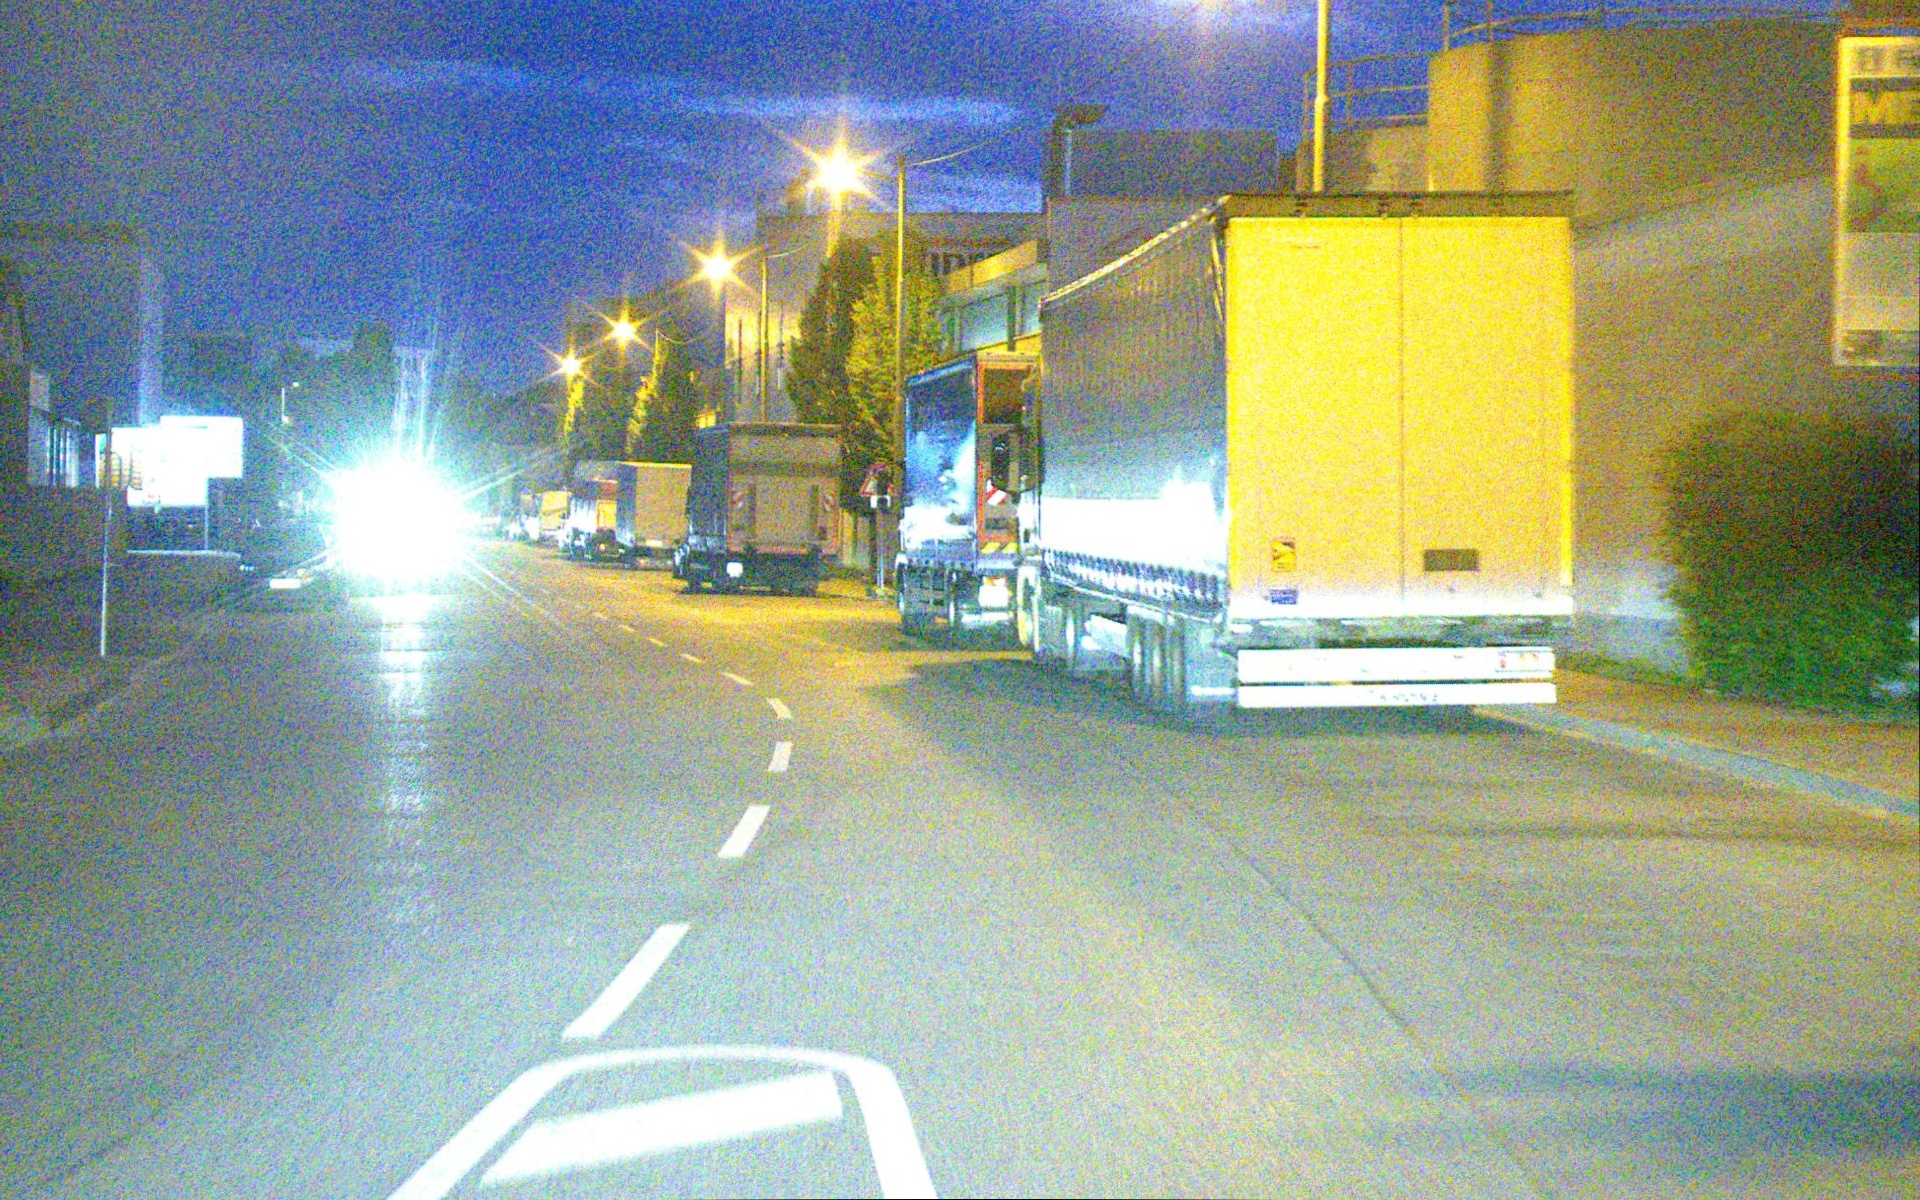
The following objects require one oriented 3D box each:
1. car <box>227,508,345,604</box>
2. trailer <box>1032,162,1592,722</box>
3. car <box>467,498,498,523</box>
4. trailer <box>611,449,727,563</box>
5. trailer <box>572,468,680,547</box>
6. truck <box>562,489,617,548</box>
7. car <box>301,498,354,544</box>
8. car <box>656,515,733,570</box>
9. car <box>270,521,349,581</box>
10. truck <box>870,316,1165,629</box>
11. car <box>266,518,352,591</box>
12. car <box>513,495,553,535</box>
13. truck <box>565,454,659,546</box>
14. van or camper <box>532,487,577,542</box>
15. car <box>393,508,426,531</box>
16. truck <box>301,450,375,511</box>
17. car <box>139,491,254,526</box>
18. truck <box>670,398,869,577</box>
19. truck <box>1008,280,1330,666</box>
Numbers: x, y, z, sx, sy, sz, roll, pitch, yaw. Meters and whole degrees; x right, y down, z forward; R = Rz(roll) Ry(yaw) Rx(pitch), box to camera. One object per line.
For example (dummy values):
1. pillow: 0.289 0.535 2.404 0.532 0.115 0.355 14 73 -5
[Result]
1. car: -12.222 -0.811 62.432 1.993 1.631 4.775 1 1 -11
2. trailer: 2.661 -1.271 31.470 2.808 3.969 13.977 -1 1 -4
3. car: -32.817 -6.157 236.122 1.993 1.678 4.001 1 1 -9
4. trailer: -9.375 -2.985 109.915 2.686 3.452 7.812 1 1 -12
5. trailer: -12.338 -3.356 126.164 3.183 2.739 10.718 -1 1 -9
6. truck: -15.672 -3.455 145.195 1.993 2.399 5.294 1 1 -9
7. car: -25.429 -3.191 138.233 1.993 1.787 4.001 1 1 -9
8. car: -7.516 -1.640 97.123 1.852 1.514 3.819 -1 1 -9
9. car: -16.365 -1.243 86.626 1.841 1.415 4.001 1 1 -9
10. truck: 0.605 -1.725 48.940 2.829 3.969 10.345 -1 1 -7
11. car: -12.860 -0.913 68.041 1.601 1.349 4.001 1 2 -10
12. car: -23.189 -4.625 186.664 1.993 2.138 4.001 1 1 -9
13. truck: -13.520 -3.855 133.201 3.150 3.451 6.675 -1 1 -9
14. van or camper: -19.658 -4.135 166.568 1.993 2.572 4.916 1 1 -9
15. car: -35.047 -5.114 218.793 1.993 1.393 4.001 1 1 -9
16. truck: -38.786 -7.421 214.056 3.889 3.609 8.263 1 1 -15
17. car: -34.063 -4.075 153.423 4.613 1.480 2.000 0 2 -32
18. truck: -4.669 -2.612 81.857 3.519 3.969 10.345 -1 1 -10
19. truck: 2.208 -1.377 38.523 2.830 3.969 6.051 -1 1 -4
